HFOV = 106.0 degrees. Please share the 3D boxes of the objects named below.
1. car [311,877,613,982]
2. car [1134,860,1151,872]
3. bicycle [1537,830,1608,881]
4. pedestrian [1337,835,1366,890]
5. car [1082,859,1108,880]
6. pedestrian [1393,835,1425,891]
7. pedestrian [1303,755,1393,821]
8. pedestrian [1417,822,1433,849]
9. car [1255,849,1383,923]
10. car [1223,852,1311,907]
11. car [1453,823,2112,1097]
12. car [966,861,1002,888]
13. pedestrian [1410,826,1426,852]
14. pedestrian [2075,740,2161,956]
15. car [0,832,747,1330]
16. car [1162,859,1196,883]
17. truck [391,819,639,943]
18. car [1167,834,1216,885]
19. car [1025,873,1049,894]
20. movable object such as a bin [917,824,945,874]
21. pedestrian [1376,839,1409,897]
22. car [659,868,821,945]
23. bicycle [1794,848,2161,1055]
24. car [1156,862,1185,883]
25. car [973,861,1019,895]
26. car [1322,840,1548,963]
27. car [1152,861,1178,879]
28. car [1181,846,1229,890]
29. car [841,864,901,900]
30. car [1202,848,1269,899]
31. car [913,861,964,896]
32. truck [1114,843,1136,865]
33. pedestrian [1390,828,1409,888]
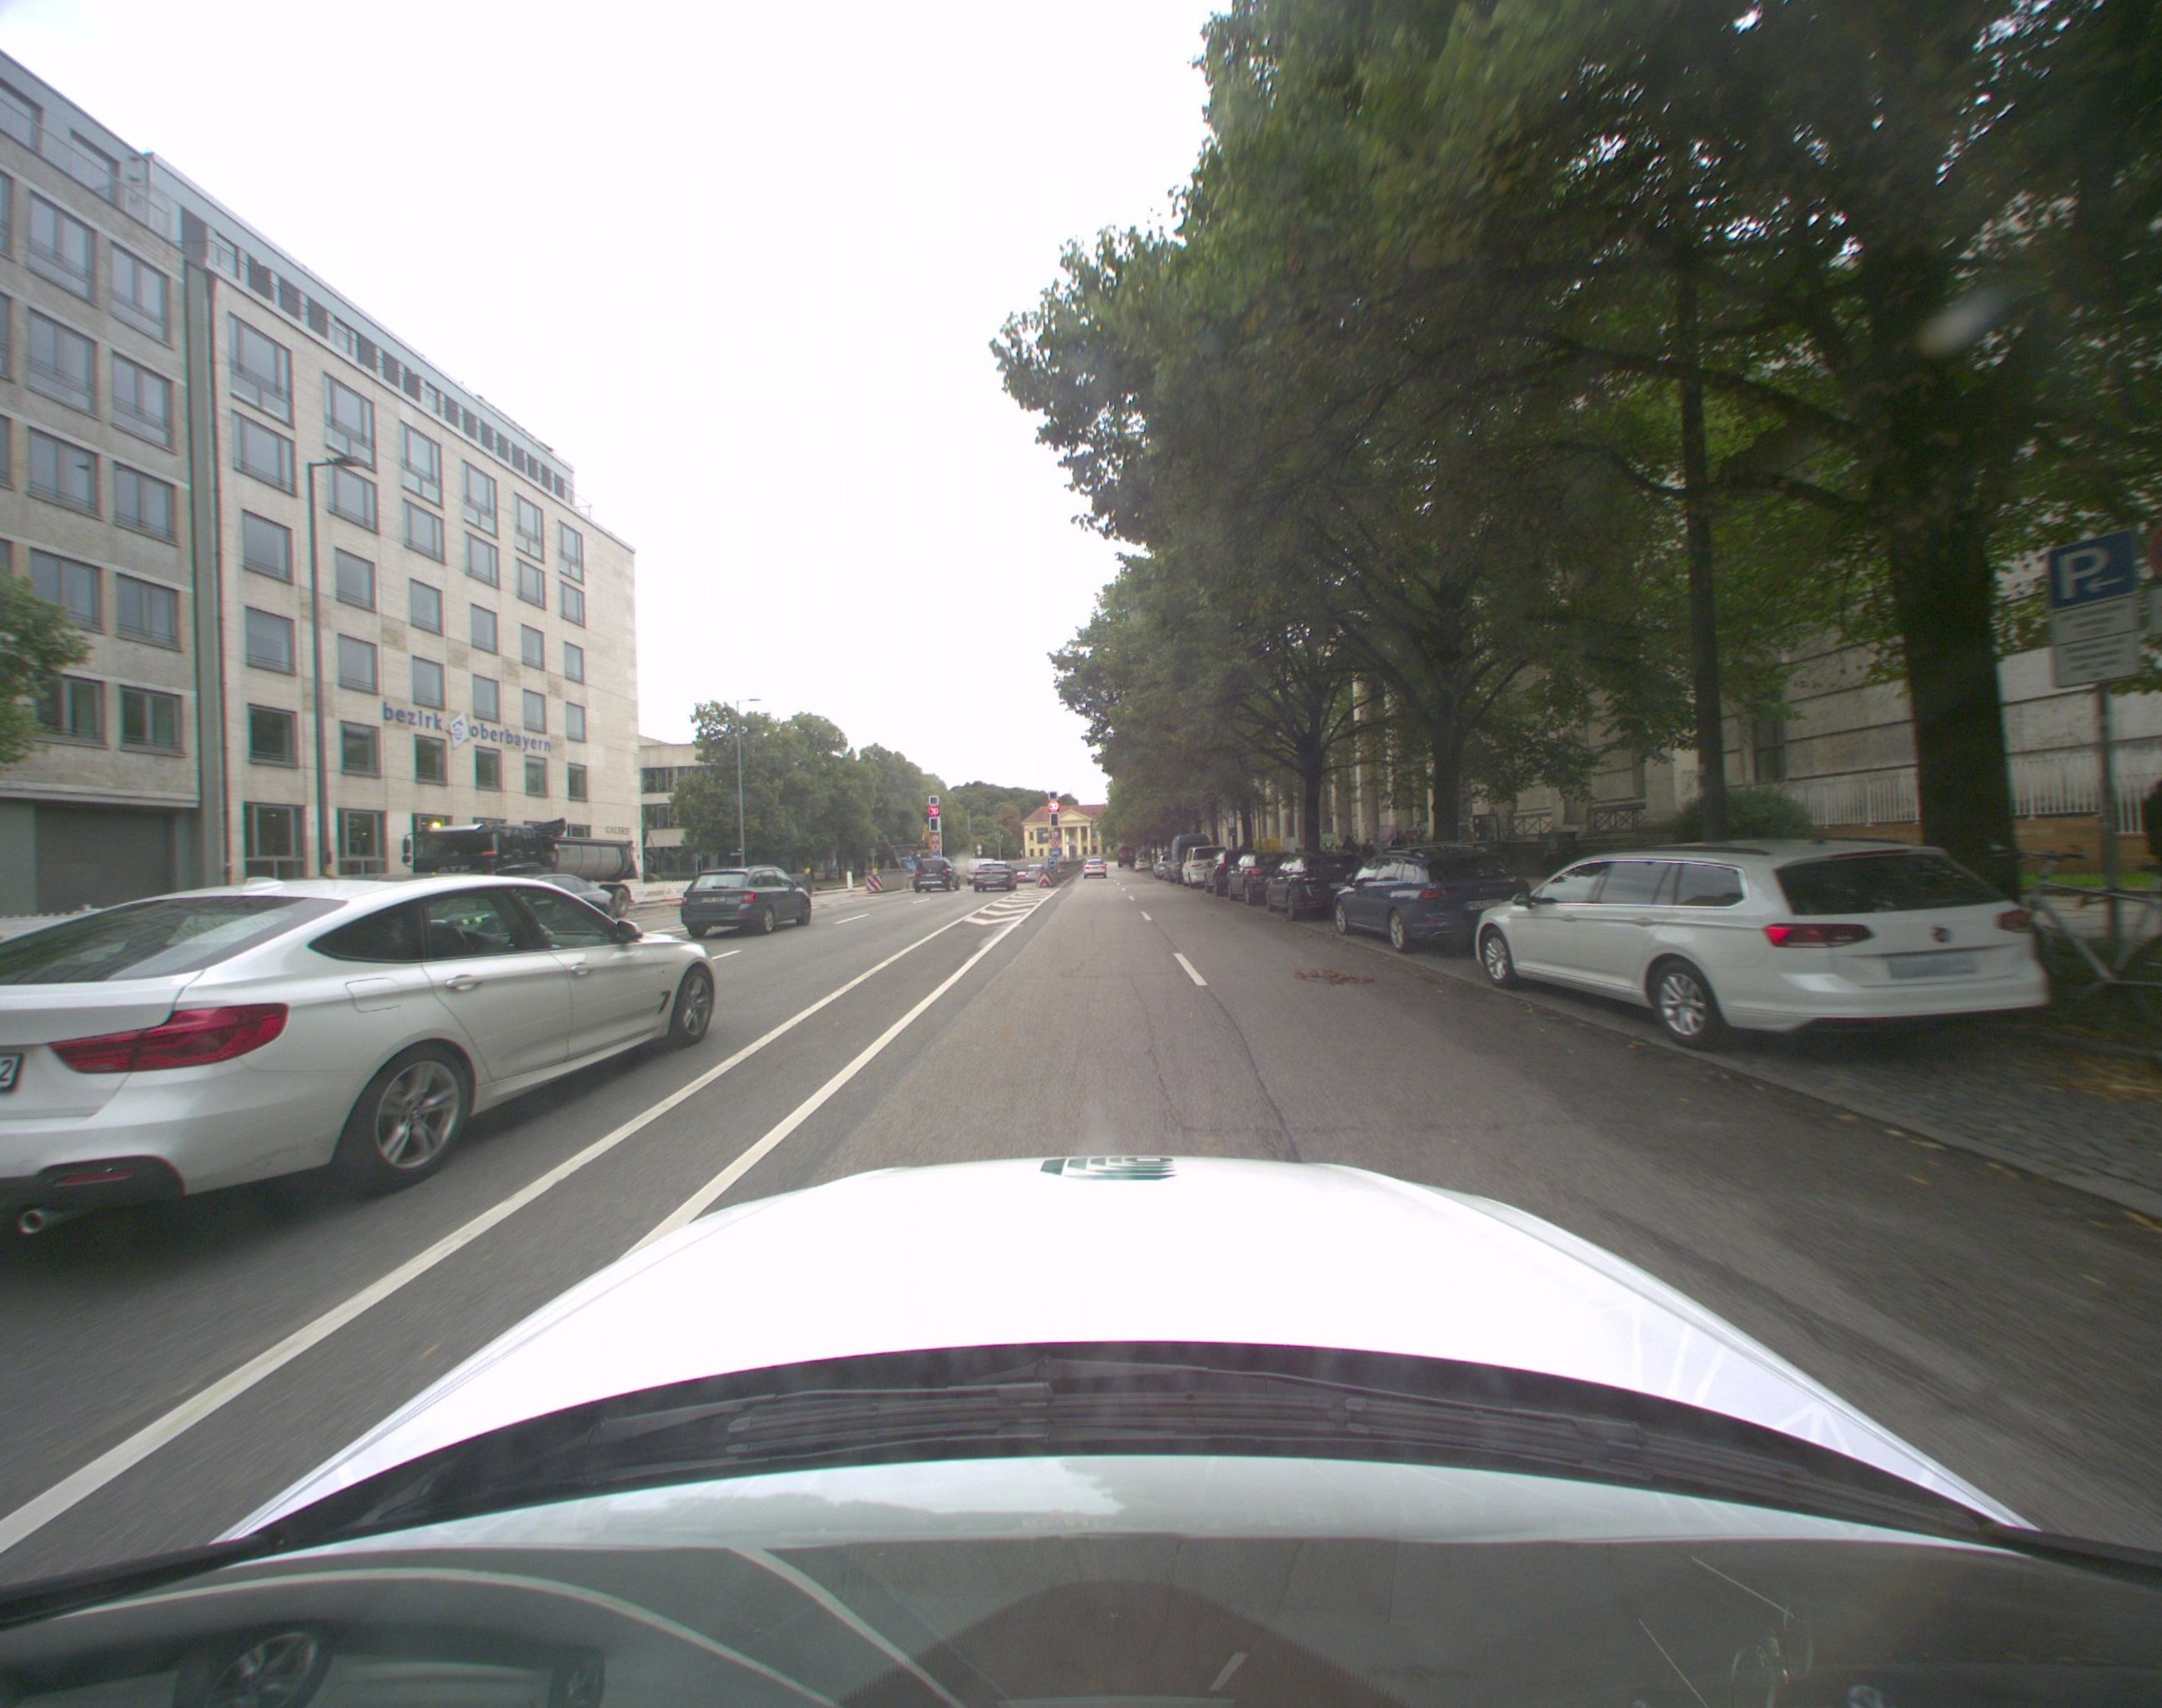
[{"bbox_3d":[-11.186,1.251,15.365,1.872,1.465,5.209,-2,0,-3],"label":"car"},{"bbox_3d":[6.947,1.338,92.056,1.718,1.324,4.029,-3,-1,2],"label":"car"},{"bbox_3d":[14.514,0.056,24.127,0.697,1.415,2.299,-3,-1,1],"label":"bicycle"},{"bbox_3d":[9.705,0.307,29.227,0.776,1.910,0.771,-1,-1,2],"label":"pedestrian"},{"bbox_3d":[1.069,1.197,64.860,1.776,1.644,3.994,-1,0,-4],"label":"car"},{"bbox_3d":[11.278,0.305,28.051,0.776,1.910,0.771,-1,-1,2],"label":"pedestrian"},{"bbox_3d":[9.440,-2.275,29.114,1.986,2.014,4.001,-1,0,1],"label":"pedestrian"},{"bbox_3d":[18.393,-0.989,43.593,0.564,1.373,0.646,-1,-1,2],"label":"pedestrian"},{"bbox_3d":[5.423,0.678,19.201,1.718,1.464,4.778,-3,-1,2],"label":"car"},{"bbox_3d":[5.541,0.723,24.692,1.816,1.464,4.029,-3,-1,2],"label":"car"},{"bbox_3d":[5.251,0.650,7.228,1.820,1.549,4.753,-3,-1,2],"label":"car"},{"bbox_3d":[-6.998,1.450,59.270,1.892,1.847,4.956,-2,-1,1],"label":"car"},{"bbox_3d":[18.335,-0.802,44.317,0.564,1.373,0.646,-1,-1,2],"label":"pedestrian"},{"bbox_3d":[9.917,-0.060,7.434,0.696,1.910,0.771,-1,-1,2],"label":"pedestrian"},{"bbox_3d":[-4.065,0.808,5.211,1.787,1.636,5.024,-2,-1,-1],"label":"car"},{"bbox_3d":[6.116,1.047,51.253,1.718,1.364,4.029,-3,-1,2],"label":"car"},{"bbox_3d":[-17.801,0.754,26.609,2.838,3.357,8.742,-1,0,-7],"label":"truck"},{"bbox_3d":[6.047,0.325,45.120,1.987,2.643,4.877,-1,0,0],"label":"car"},{"bbox_3d":[-3.744,2.502,70.552,1.773,1.654,4.000,-1,0,1],"label":"car"},{"bbox_3d":[-20.273,-0.670,110.366,2.690,6.511,5.177,-1,-1,1],"label":"movable object such as a bin"},{"bbox_3d":[10.540,0.462,27.573,0.776,1.910,0.771,-1,-1,2],"label":"pedestrian"},{"bbox_3d":[-7.477,1.080,18.371,1.787,1.447,4.274,-2,-1,0],"label":"car"},{"bbox_3d":[6.750,0.586,6.020,0.626,1.231,2.617,-1,0,-1],"label":"bicycle"},{"bbox_3d":[6.214,1.261,56.926,1.718,1.324,4.029,-3,-1,2],"label":"car"},{"bbox_3d":[-4.098,1.141,39.801,1.704,1.552,4.000,-1,0,1],"label":"car"},{"bbox_3d":[5.382,0.650,13.114,1.718,1.549,4.587,-3,-1,2],"label":"car"},{"bbox_3d":[6.466,1.218,63.162,1.718,1.324,4.029,-3,-1,2],"label":"car"},{"bbox_3d":[5.765,0.642,38.250,1.718,1.867,4.029,-3,-1,2],"label":"car"},{"bbox_3d":[-10.406,1.354,40.639,1.988,1.596,3.997,-3,-1,-2],"label":"car"},{"bbox_3d":[5.671,0.693,30.342,1.718,1.665,4.591,-3,-1,2],"label":"car"},{"bbox_3d":[-7.227,1.219,41.672,1.717,1.636,4.205,-2,-1,1],"label":"car"},{"bbox_3d":[6.967,0.045,130.585,3.313,3.367,8.664,-1,0,1],"label":"truck"},{"bbox_3d":[10.403,0.127,26.625,0.524,1.910,0.655,-1,-1,20],"label":"pedestrian"}]
